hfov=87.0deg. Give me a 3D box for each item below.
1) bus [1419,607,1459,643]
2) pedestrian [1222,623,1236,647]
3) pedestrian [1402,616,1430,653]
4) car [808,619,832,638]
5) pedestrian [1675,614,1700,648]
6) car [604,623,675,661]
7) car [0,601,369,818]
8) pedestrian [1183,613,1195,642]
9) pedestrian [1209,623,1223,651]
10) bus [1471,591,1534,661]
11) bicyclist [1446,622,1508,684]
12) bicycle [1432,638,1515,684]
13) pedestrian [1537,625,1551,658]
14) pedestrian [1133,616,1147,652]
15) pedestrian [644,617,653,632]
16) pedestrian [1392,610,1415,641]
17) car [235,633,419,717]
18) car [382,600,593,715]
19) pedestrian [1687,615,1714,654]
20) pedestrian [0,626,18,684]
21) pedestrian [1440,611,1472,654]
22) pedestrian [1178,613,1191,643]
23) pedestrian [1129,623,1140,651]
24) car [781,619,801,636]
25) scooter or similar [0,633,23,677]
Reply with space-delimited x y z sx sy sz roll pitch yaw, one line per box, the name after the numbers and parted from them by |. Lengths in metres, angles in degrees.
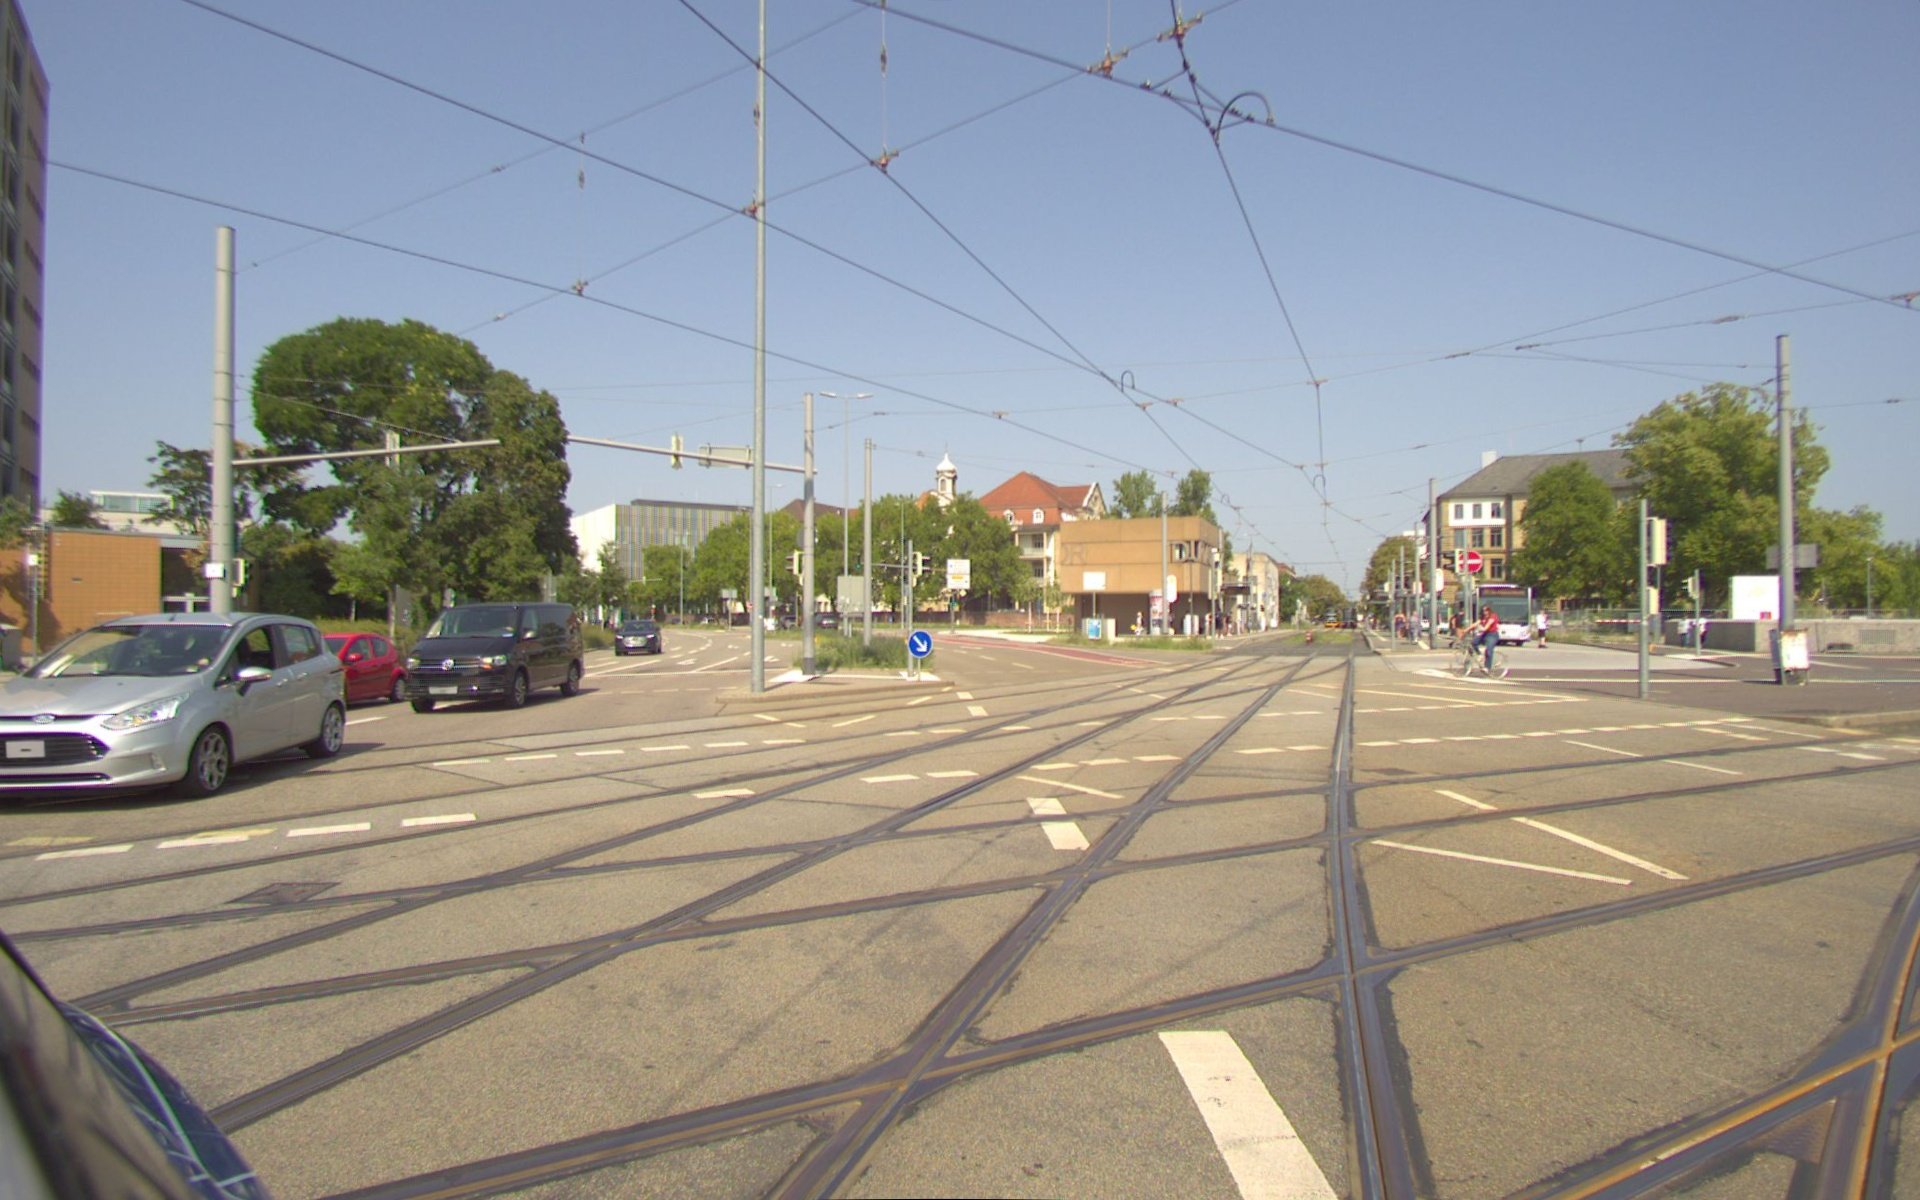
45.837 2.320 97.124 2.524 3.055 12.345 -2 -1 21 | bus
19.386 2.517 72.912 0.791 1.692 0.849 -2 -1 24 | pedestrian
22.242 1.674 49.330 0.942 1.793 0.788 2 -2 -19 | pedestrian
-13.040 2.660 94.320 1.871 1.665 4.668 0 -1 -12 | car
34.755 1.476 48.344 0.778 1.560 0.675 1 -1 18 | pedestrian
-14.914 1.932 47.405 1.971 1.653 4.701 0 -2 -2 | car
-7.352 0.856 9.681 1.665 1.607 4.372 0 -1 -12 | car
13.492 1.635 59.612 0.575 1.688 0.582 -2 -1 24 | pedestrian
15.342 2.223 60.646 0.561 1.658 0.513 -2 -1 -19 | pedestrian
29.451 1.395 55.129 2.665 3.356 12.638 -1 -1 27 | bus
12.470 1.259 24.421 0.963 1.470 0.880 0 -2 -18 | bicyclist
12.392 1.456 24.432 1.880 1.077 0.616 0 -2 -18 | bicycle
28.111 1.988 48.690 0.575 1.540 0.593 0 -2 31 | pedestrian
9.241 1.741 52.003 0.551 1.830 0.562 0 -2 -10 | pedestrian
-37.342 2.932 121.421 0.952 1.799 1.120 0 -1 -15 | pedestrian
25.575 1.475 58.413 0.772 1.793 0.962 2 -2 -16 | pedestrian
-12.018 1.368 19.469 1.496 1.419 3.359 -1 -1 -1 | car
-8.917 1.033 19.648 1.874 1.945 4.885 0 -2 -1 | car
33.605 1.544 45.912 0.778 1.741 0.675 -1 -2 18 | pedestrian
-23.573 1.330 24.536 0.773 1.405 0.851 0 -1 -20 | pedestrian
21.135 1.394 43.163 0.942 1.793 0.788 2 -2 -19 | pedestrian
13.099 1.642 59.016 0.575 1.688 0.582 -2 -1 24 | pedestrian
8.876 1.883 51.447 0.454 1.385 0.350 0 -2 -10 | pedestrian
-15.860 2.578 94.981 1.652 1.532 3.714 0 -1 -12 | car
-25.548 1.453 26.835 0.436 1.166 1.147 0 -1 -8 | scooter or similar
